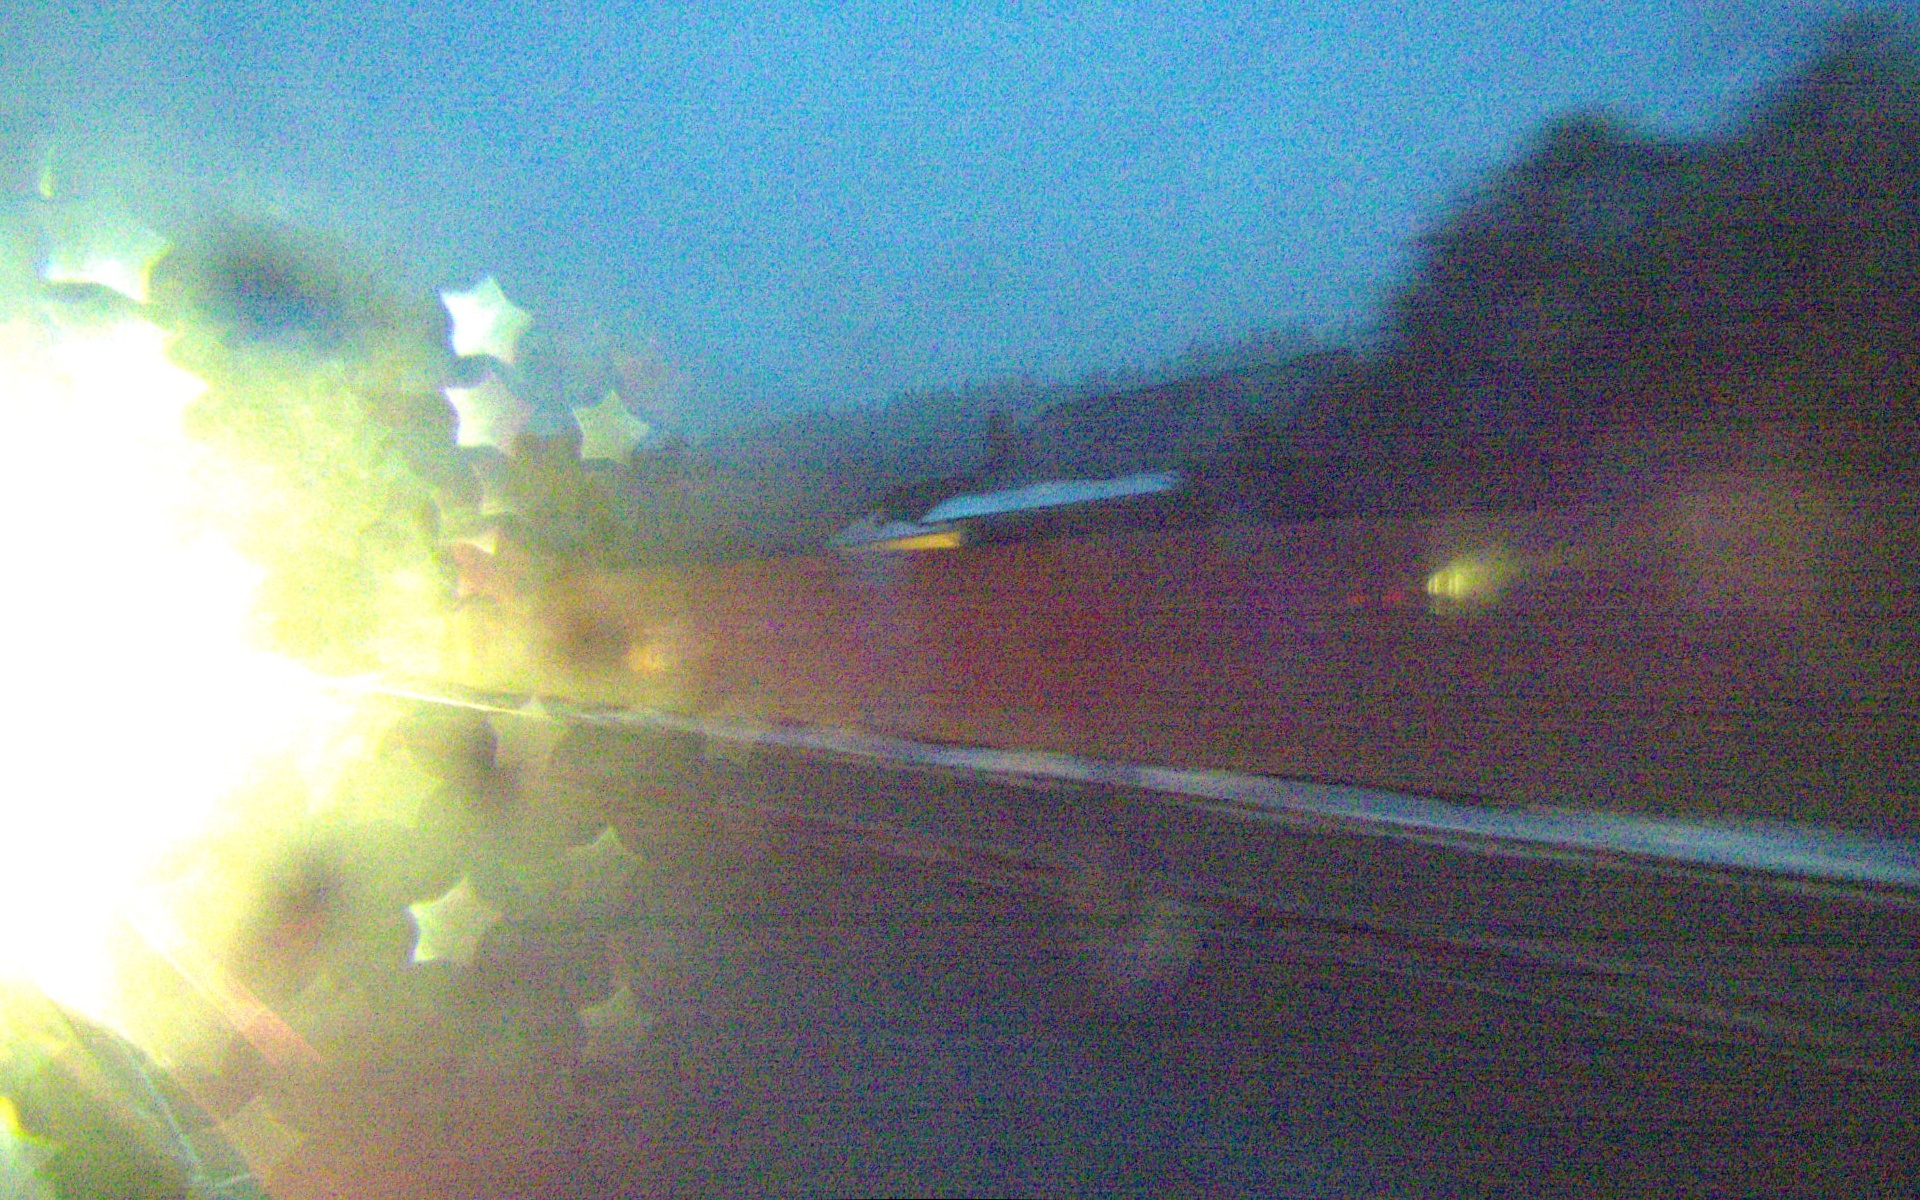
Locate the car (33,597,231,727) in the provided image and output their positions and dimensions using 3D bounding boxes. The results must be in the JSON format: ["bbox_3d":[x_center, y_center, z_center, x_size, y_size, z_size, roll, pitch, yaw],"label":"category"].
[{"bbox_3d":[-13.730,0.920,16.703,4.000,1.791,1.955,-1,2,43],"label":"car"}]

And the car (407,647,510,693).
[{"bbox_3d":[-22.400,3.118,45.223,3.971,1.844,1.962,-4,-3,21],"label":"car"}]
